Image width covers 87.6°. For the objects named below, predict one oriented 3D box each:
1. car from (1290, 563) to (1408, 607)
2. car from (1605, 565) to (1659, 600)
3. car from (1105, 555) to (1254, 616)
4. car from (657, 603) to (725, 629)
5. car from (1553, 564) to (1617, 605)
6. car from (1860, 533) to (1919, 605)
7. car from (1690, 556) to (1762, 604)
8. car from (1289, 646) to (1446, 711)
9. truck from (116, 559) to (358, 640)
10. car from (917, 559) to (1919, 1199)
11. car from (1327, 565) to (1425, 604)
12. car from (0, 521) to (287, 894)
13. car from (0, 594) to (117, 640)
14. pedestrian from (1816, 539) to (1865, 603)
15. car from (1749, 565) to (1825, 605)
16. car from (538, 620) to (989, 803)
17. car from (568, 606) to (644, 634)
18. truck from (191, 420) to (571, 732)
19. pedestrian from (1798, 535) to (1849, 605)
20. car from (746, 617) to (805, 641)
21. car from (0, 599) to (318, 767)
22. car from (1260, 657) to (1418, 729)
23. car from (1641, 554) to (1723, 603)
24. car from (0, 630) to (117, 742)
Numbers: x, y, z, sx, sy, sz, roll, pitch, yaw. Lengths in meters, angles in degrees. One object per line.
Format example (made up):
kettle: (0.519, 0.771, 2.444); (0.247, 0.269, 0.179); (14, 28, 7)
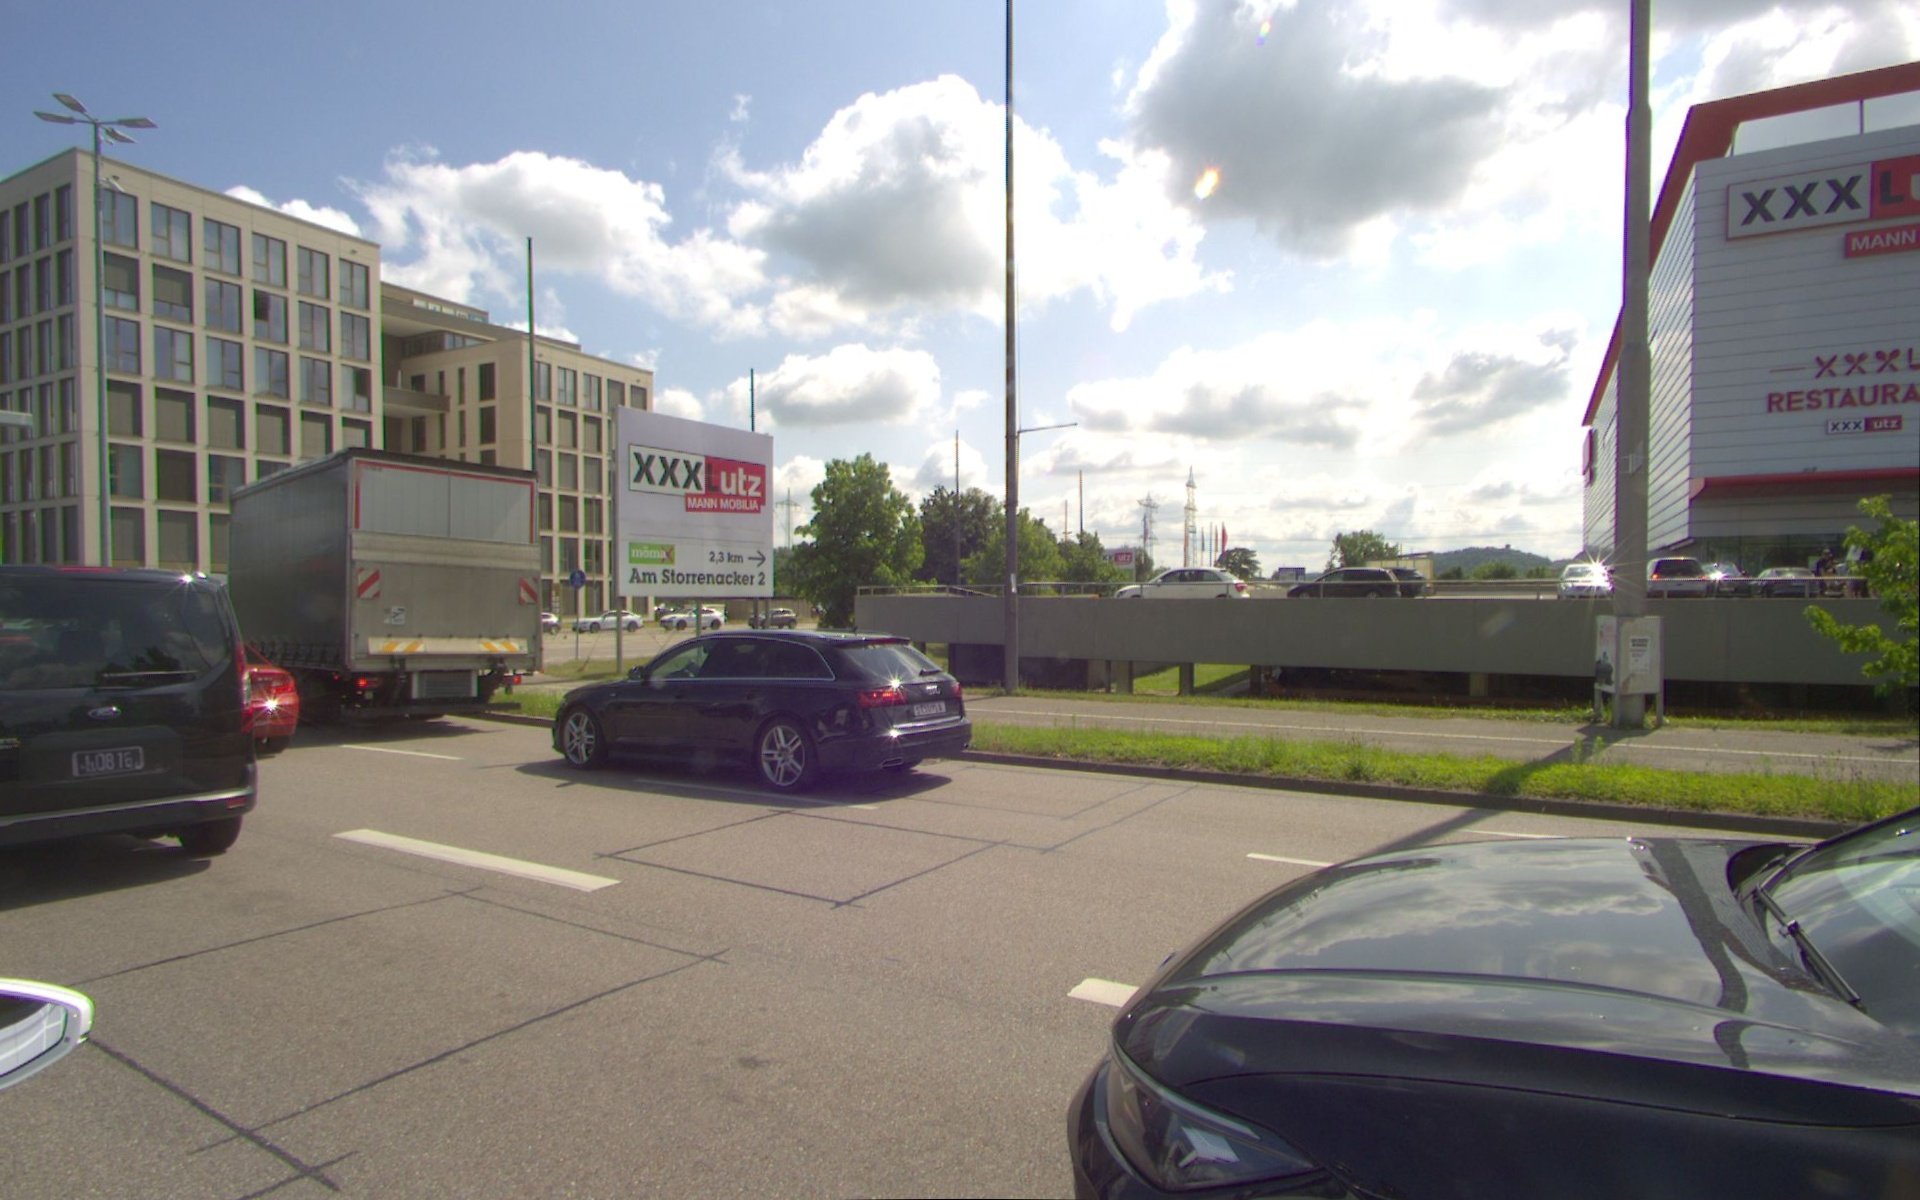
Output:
car: (15.891, -0.576, 40.942); (4.352, 1.626, 1.948); (-1, -1, 26)
car: (35.193, -0.872, 52.545); (1.925, 1.626, 4.406); (0, -1, 28)
car: (6.410, -0.378, 29.149); (4.089, 1.606, 1.880); (-1, -2, 17)
car: (-19.853, 1.214, 74.053); (1.809, 1.861, 4.675); (-2, -2, 43)
car: (25.389, -0.571, 40.813); (1.925, 1.490, 4.406); (0, -1, 28)
car: (26.310, -0.806, 27.513); (1.892, 1.772, 4.163); (-1, -2, 36)
car: (31.976, -0.796, 41.907); (1.888, 1.772, 3.982); (-1, -2, 31)
car: (12.509, 2.344, 30.748); (4.296, 1.772, 1.992); (-1, -1, 29)
truck: (-35.661, 0.153, 50.036); (2.632, 3.600, 9.755); (-1, -2, 25)
car: (2.572, 0.711, 0.978); (5.129, 1.497, 1.805); (-1, -1, 32)
car: (20.449, -0.719, 49.229); (4.352, 1.808, 1.948); (-1, -1, 26)
car: (-6.368, 0.587, 6.630); (3.944, 1.929, 1.819); (-1, -1, 34)
car: (-39.473, 0.769, 42.766); (1.967, 1.861, 4.978); (-1, -2, 25)
pedestrian: (25.631, -0.824, 29.159); (0.694, 1.765, 1.019); (-1, -1, 18)
car: (33.943, -0.573, 41.205); (1.536, 1.490, 4.406); (0, -1, 28)
car: (-2.117, 0.953, 10.200); (4.613, 1.497, 1.770); (-1, -1, 33)
car: (-24.283, 1.394, 68.759); (1.806, 1.861, 4.692); (-1, -2, 38)
truck: (-10.369, -0.159, 17.338); (8.973, 4.078, 3.196); (-2, -2, 43)
pedestrian: (25.865, -0.891, 29.999); (0.694, 2.039, 0.910); (0, -1, -13)
car: (-14.657, 2.347, 79.630); (1.809, 1.861, 4.408); (-2, -2, 43)
car: (-9.685, 0.911, 11.954); (4.160, 1.676, 1.855); (-2, -2, 33)
car: (10.602, 2.537, 28.037); (3.938, 1.772, 1.992); (-1, -1, 29)
car: (27.124, -0.764, 37.773); (1.925, 1.626, 4.406); (0, -1, 28)
car: (-15.780, 1.398, 16.596); (4.165, 1.676, 1.853); (-3, -3, 36)
